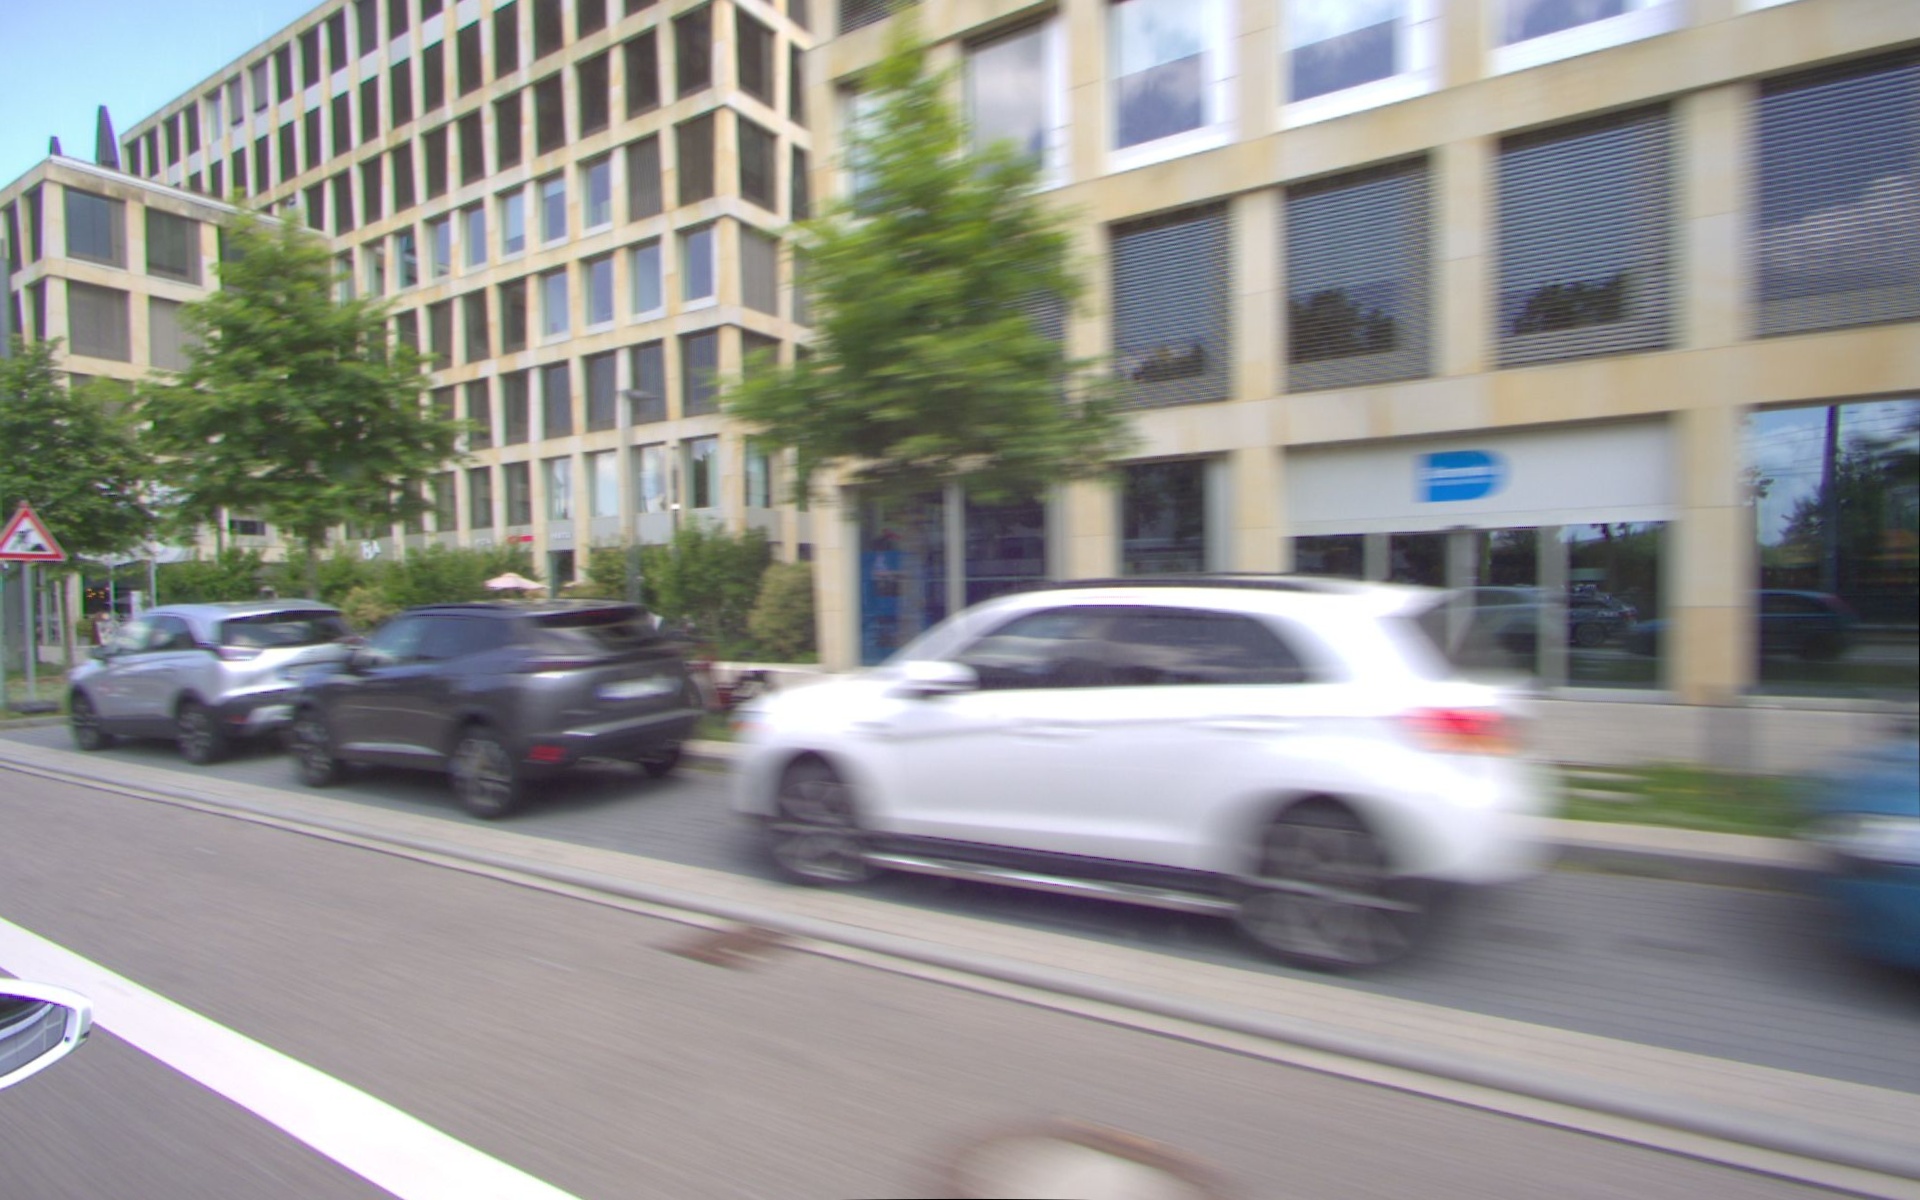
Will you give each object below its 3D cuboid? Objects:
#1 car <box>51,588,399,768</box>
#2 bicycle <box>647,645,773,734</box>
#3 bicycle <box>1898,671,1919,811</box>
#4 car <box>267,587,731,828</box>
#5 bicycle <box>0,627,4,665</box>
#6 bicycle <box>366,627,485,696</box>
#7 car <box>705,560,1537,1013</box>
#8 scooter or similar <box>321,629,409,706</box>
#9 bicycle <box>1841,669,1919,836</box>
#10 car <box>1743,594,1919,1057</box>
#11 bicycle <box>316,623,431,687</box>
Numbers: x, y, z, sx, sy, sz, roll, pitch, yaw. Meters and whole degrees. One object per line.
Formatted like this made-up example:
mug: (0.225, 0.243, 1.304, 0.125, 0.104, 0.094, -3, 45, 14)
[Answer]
car: (-8.337, 0.751, 11.304, 3.931, 1.656, 1.682, 0, 3, 31)
bicycle: (-3.007, 1.062, 12.165, 0.498, 0.929, 1.491, -3, -1, 35)
bicycle: (6.280, 0.943, 6.330, 0.267, 0.887, 1.378, -3, -1, 35)
car: (-3.951, 0.717, 8.434, 3.870, 1.569, 1.681, 0, 2, 33)
bicycle: (-28.077, 1.325, 28.062, 0.271, 1.090, 1.817, 0, 1, 36)
bicycle: (-8.057, 0.920, 15.150, 0.499, 0.928, 1.491, -5, -2, 35)
car: (0.716, 0.653, 5.391, 4.092, 1.628, 1.681, 0, 2, 33)
scooter or similar: (-9.830, 1.097, 16.560, 0.709, 1.191, 1.048, 0, 1, 36)
bicycle: (6.037, 0.944, 6.509, 0.267, 0.887, 1.378, -3, -1, 35)
car: (5.008, 0.736, 3.094, 3.894, 1.477, 1.681, 0, 2, 33)
bicycle: (-9.356, 0.860, 16.014, 0.498, 0.929, 1.491, -3, -1, 35)
